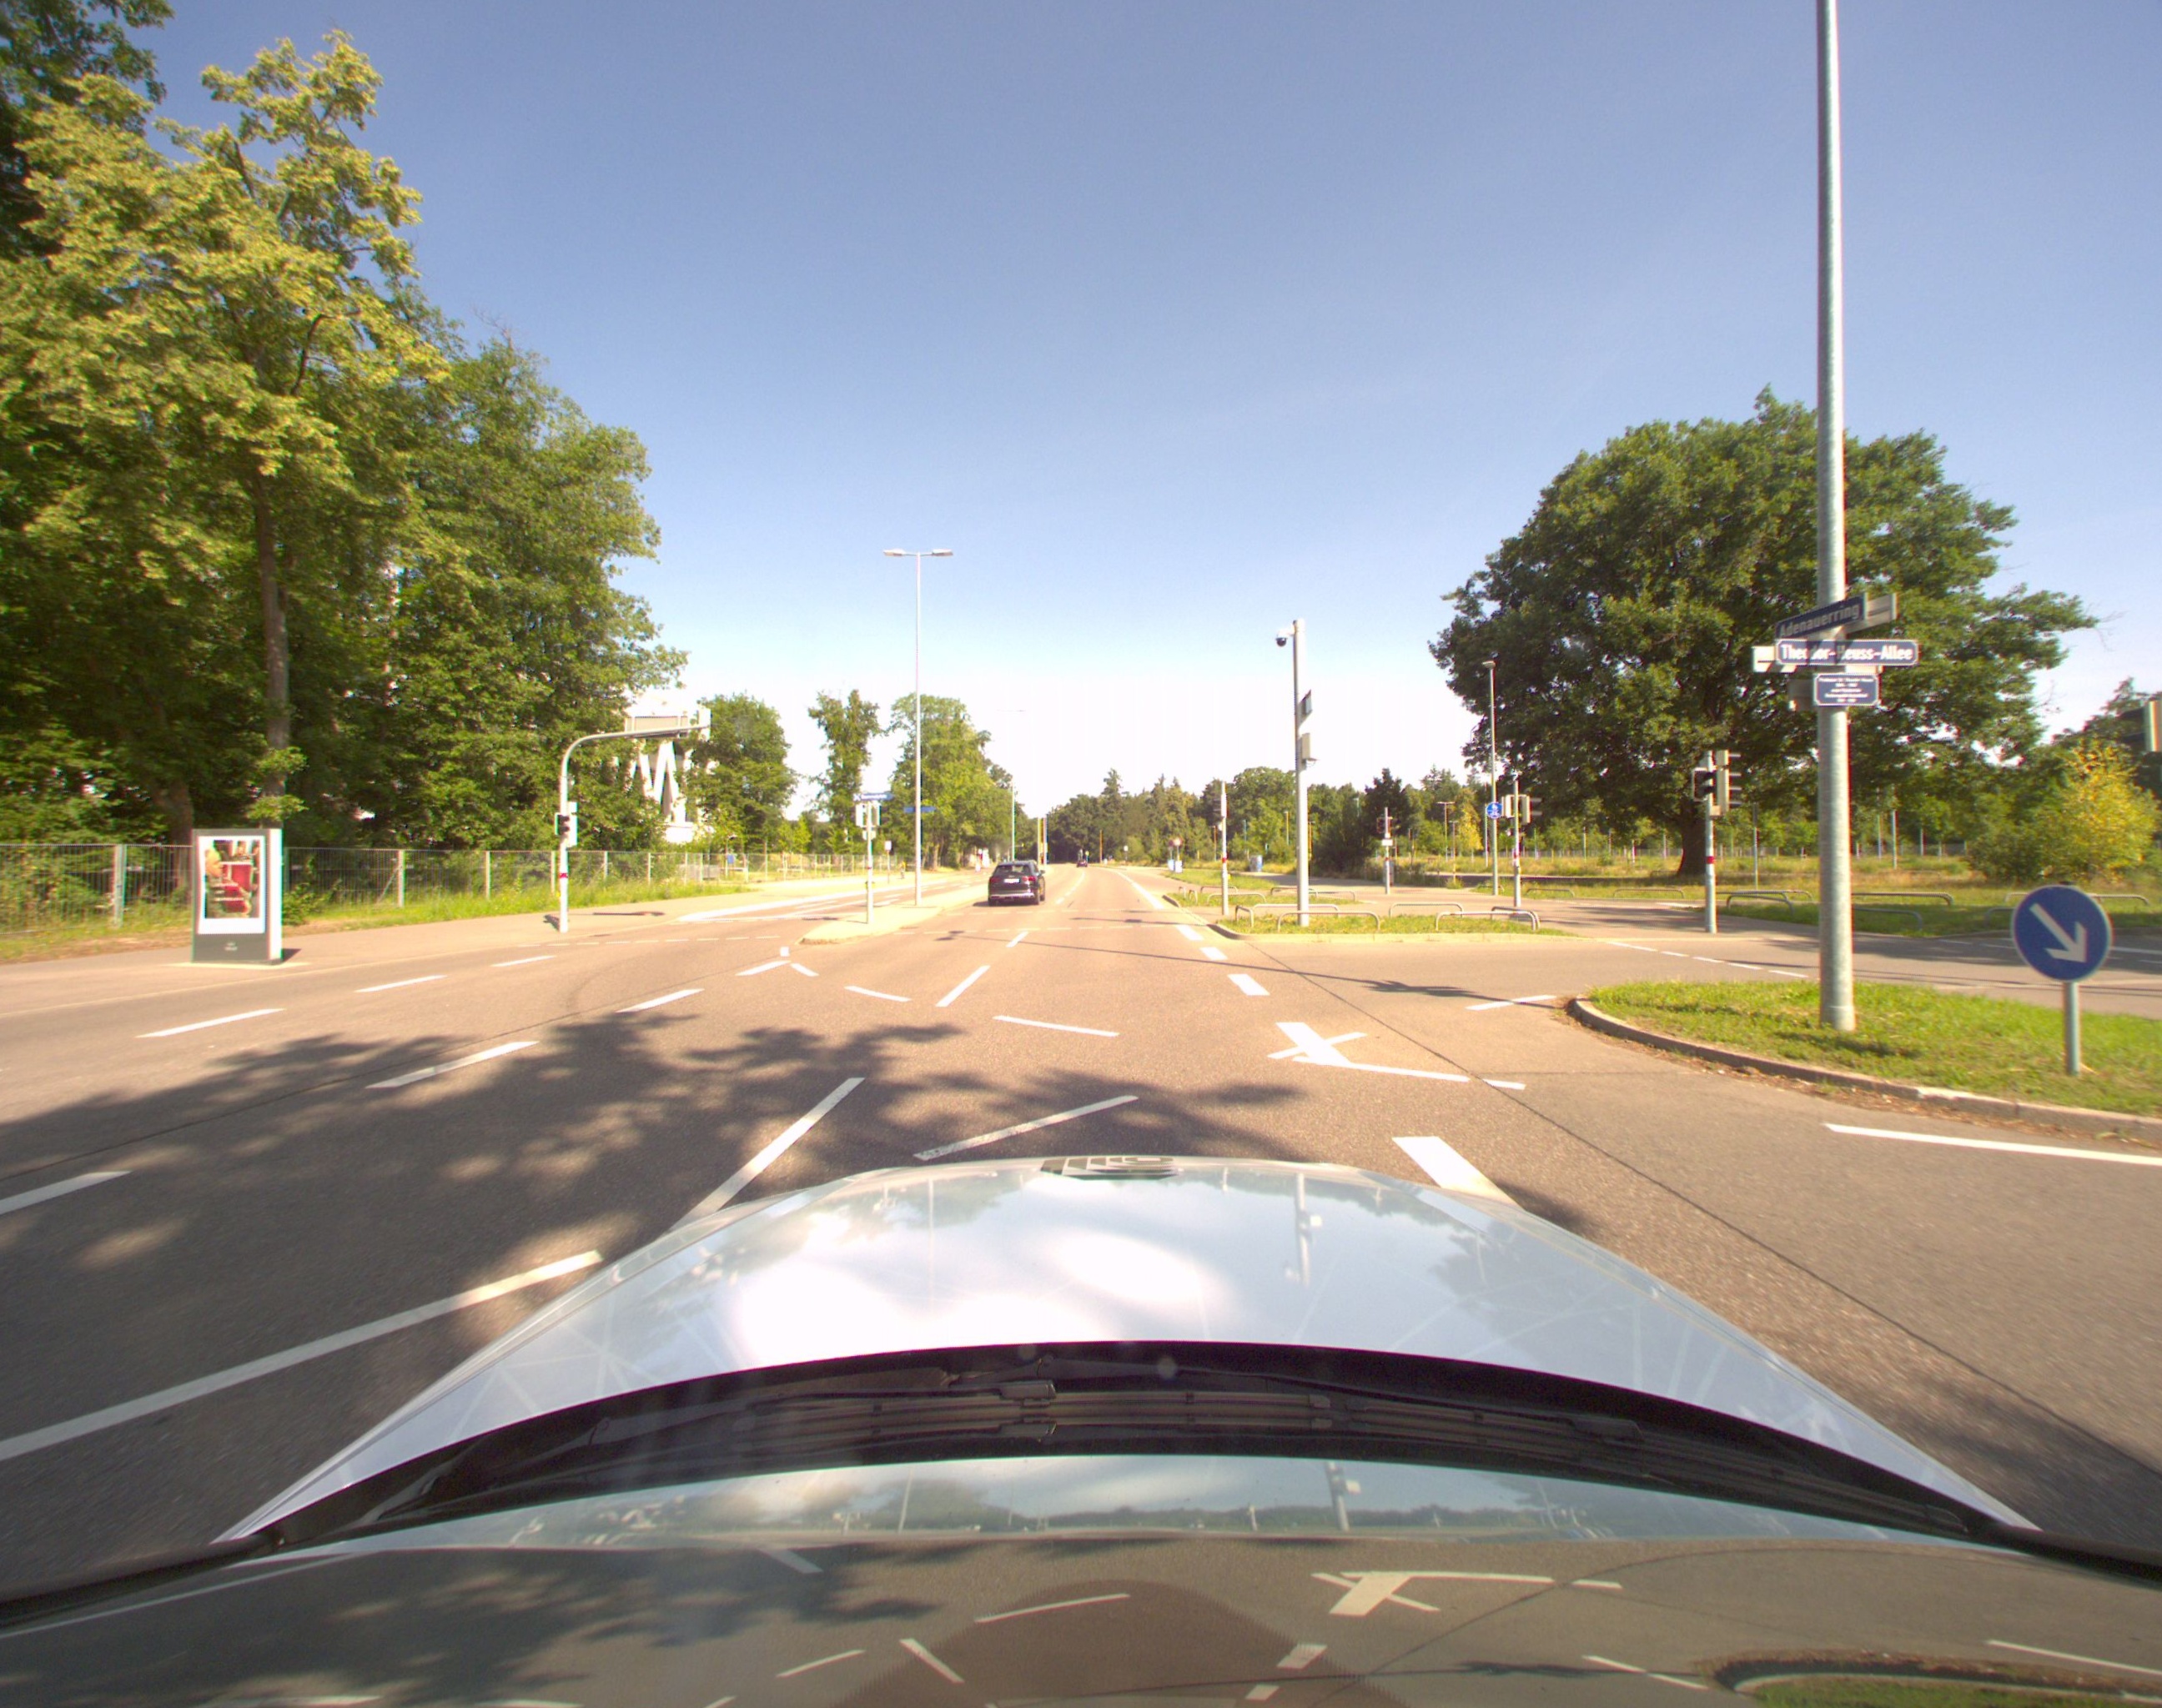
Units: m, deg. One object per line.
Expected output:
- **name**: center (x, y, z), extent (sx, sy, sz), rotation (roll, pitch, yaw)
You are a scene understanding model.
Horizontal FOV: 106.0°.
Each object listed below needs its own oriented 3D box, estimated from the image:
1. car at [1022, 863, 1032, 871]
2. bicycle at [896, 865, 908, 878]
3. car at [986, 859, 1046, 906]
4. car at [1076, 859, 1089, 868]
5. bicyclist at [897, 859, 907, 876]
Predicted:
- **car**: center (-10.182, 2.491, 153.136), extent (1.808, 1.388, 4.154), rotation (-3, 0, -5)
- **bicycle**: center (-16.061, 1.555, 73.152), extent (0.657, 1.136, 1.878), rotation (1, 0, 0)
- **car**: center (-2.325, 0.983, 29.954), extent (1.681, 1.544, 4.150), rotation (-2, 0, 2)
- **car**: center (0.281, 1.654, 141.644), extent (1.938, 1.420, 4.284), rotation (-1, 0, -5)
- **bicyclist**: center (-16.044, 1.191, 73.147), extent (0.657, 1.467, 1.057), rotation (1, -1, 0)
